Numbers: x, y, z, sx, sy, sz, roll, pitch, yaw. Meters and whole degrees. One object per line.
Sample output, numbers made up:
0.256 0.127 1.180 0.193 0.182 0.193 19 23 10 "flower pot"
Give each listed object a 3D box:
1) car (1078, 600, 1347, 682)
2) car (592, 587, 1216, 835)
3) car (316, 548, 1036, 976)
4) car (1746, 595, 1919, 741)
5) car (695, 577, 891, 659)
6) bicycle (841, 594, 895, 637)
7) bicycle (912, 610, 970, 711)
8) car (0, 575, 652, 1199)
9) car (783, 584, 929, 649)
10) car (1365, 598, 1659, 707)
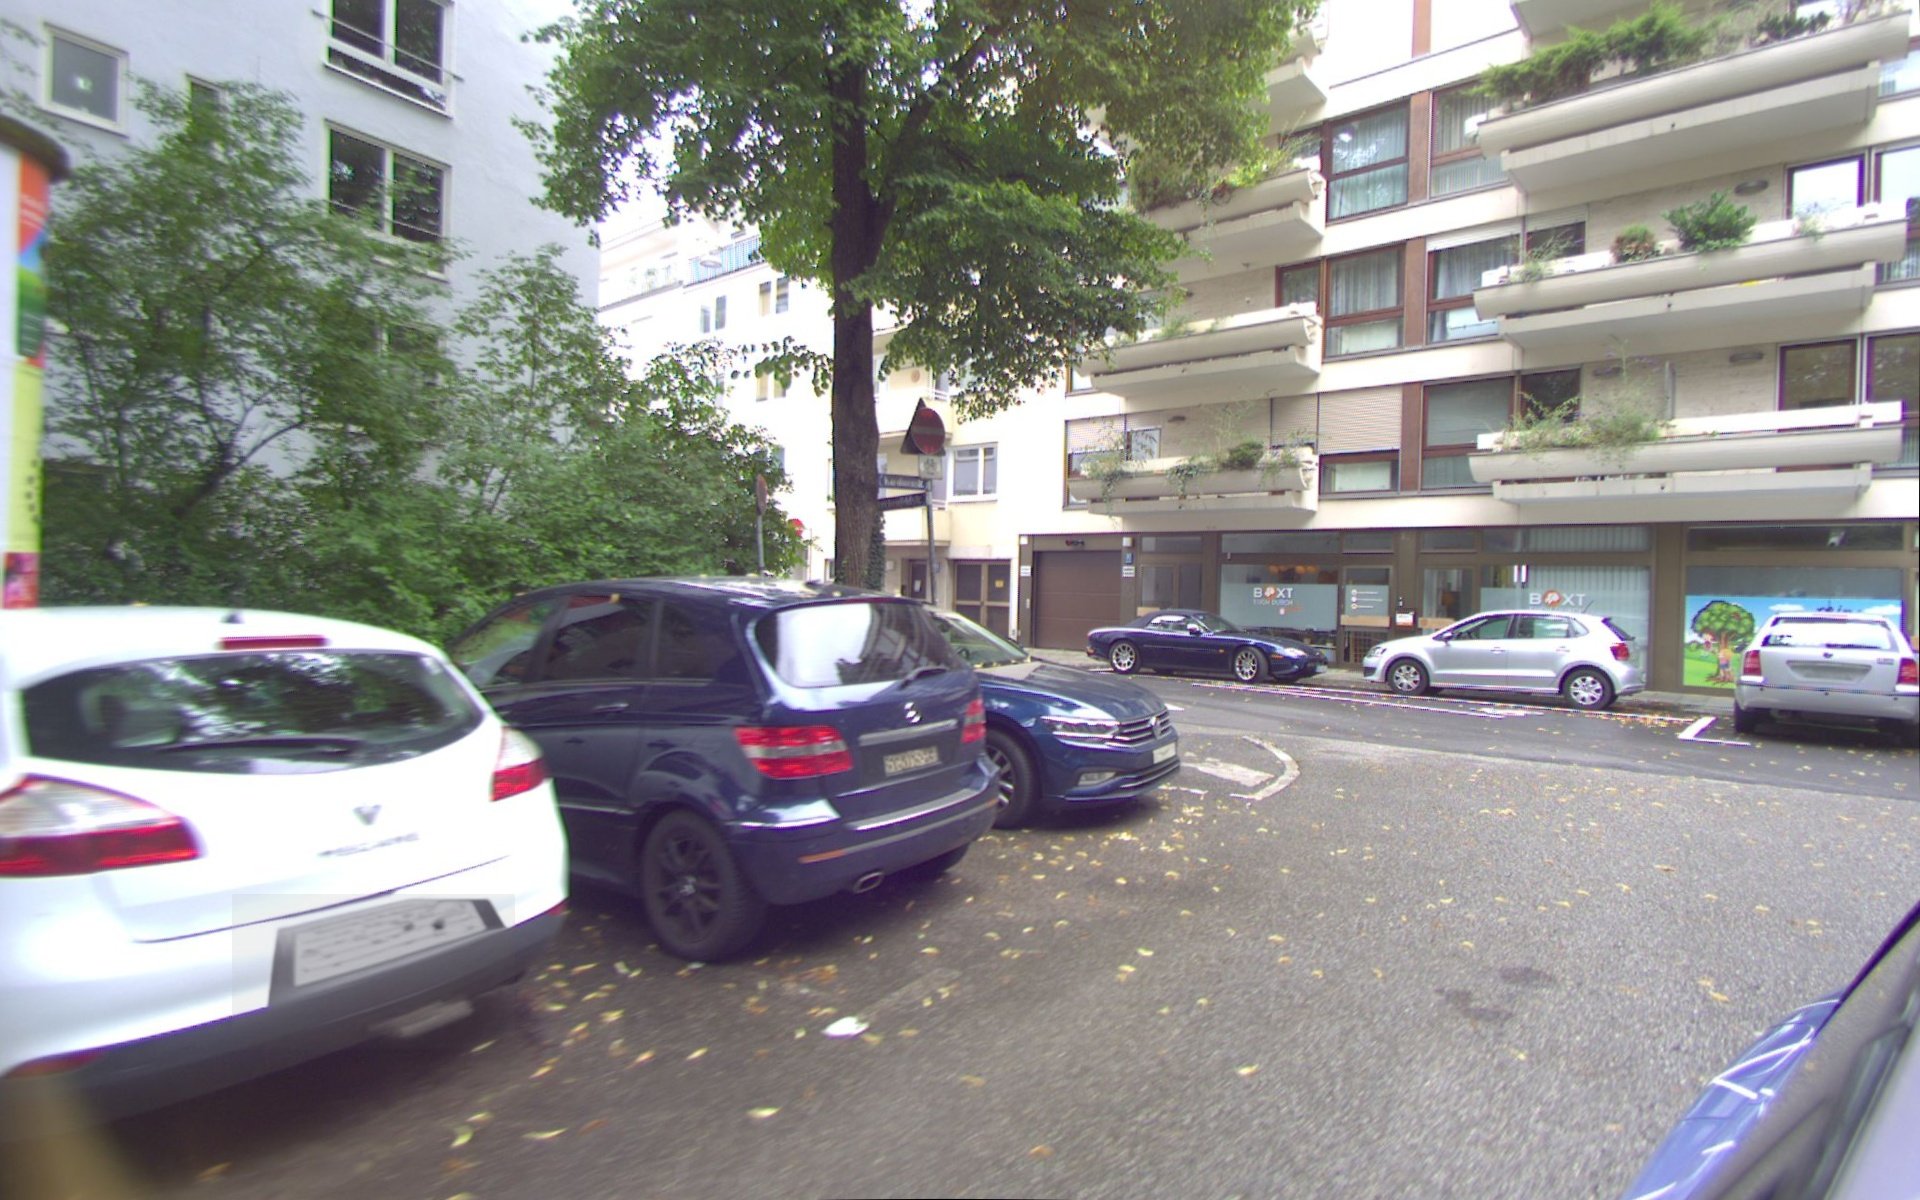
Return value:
4.658 0.714 19.080 4.595 1.294 1.776 1 -1 40 "car"
-0.562 0.635 8.038 4.695 1.394 1.939 1 1 31 "car"
-1.720 0.547 5.585 3.959 1.575 1.734 1 1 35 "car"
10.697 0.796 12.299 1.713 1.474 4.180 1 -2 39 "car"
-3.395 0.305 20.173 3.984 1.459 1.722 2 0 41 "car"
-2.651 0.429 28.960 1.753 1.163 0.462 1 1 41 "bicycle"
-0.217 0.727 12.907 0.545 1.152 1.771 1 1 5 "bicycle"
-3.199 0.658 3.755 3.917 1.465 1.807 2 1 31 "car"
-2.727 0.396 26.131 3.691 1.515 1.602 2 0 39 "car"
8.526 0.751 15.787 3.815 1.440 1.543 1 -1 39 "car"
